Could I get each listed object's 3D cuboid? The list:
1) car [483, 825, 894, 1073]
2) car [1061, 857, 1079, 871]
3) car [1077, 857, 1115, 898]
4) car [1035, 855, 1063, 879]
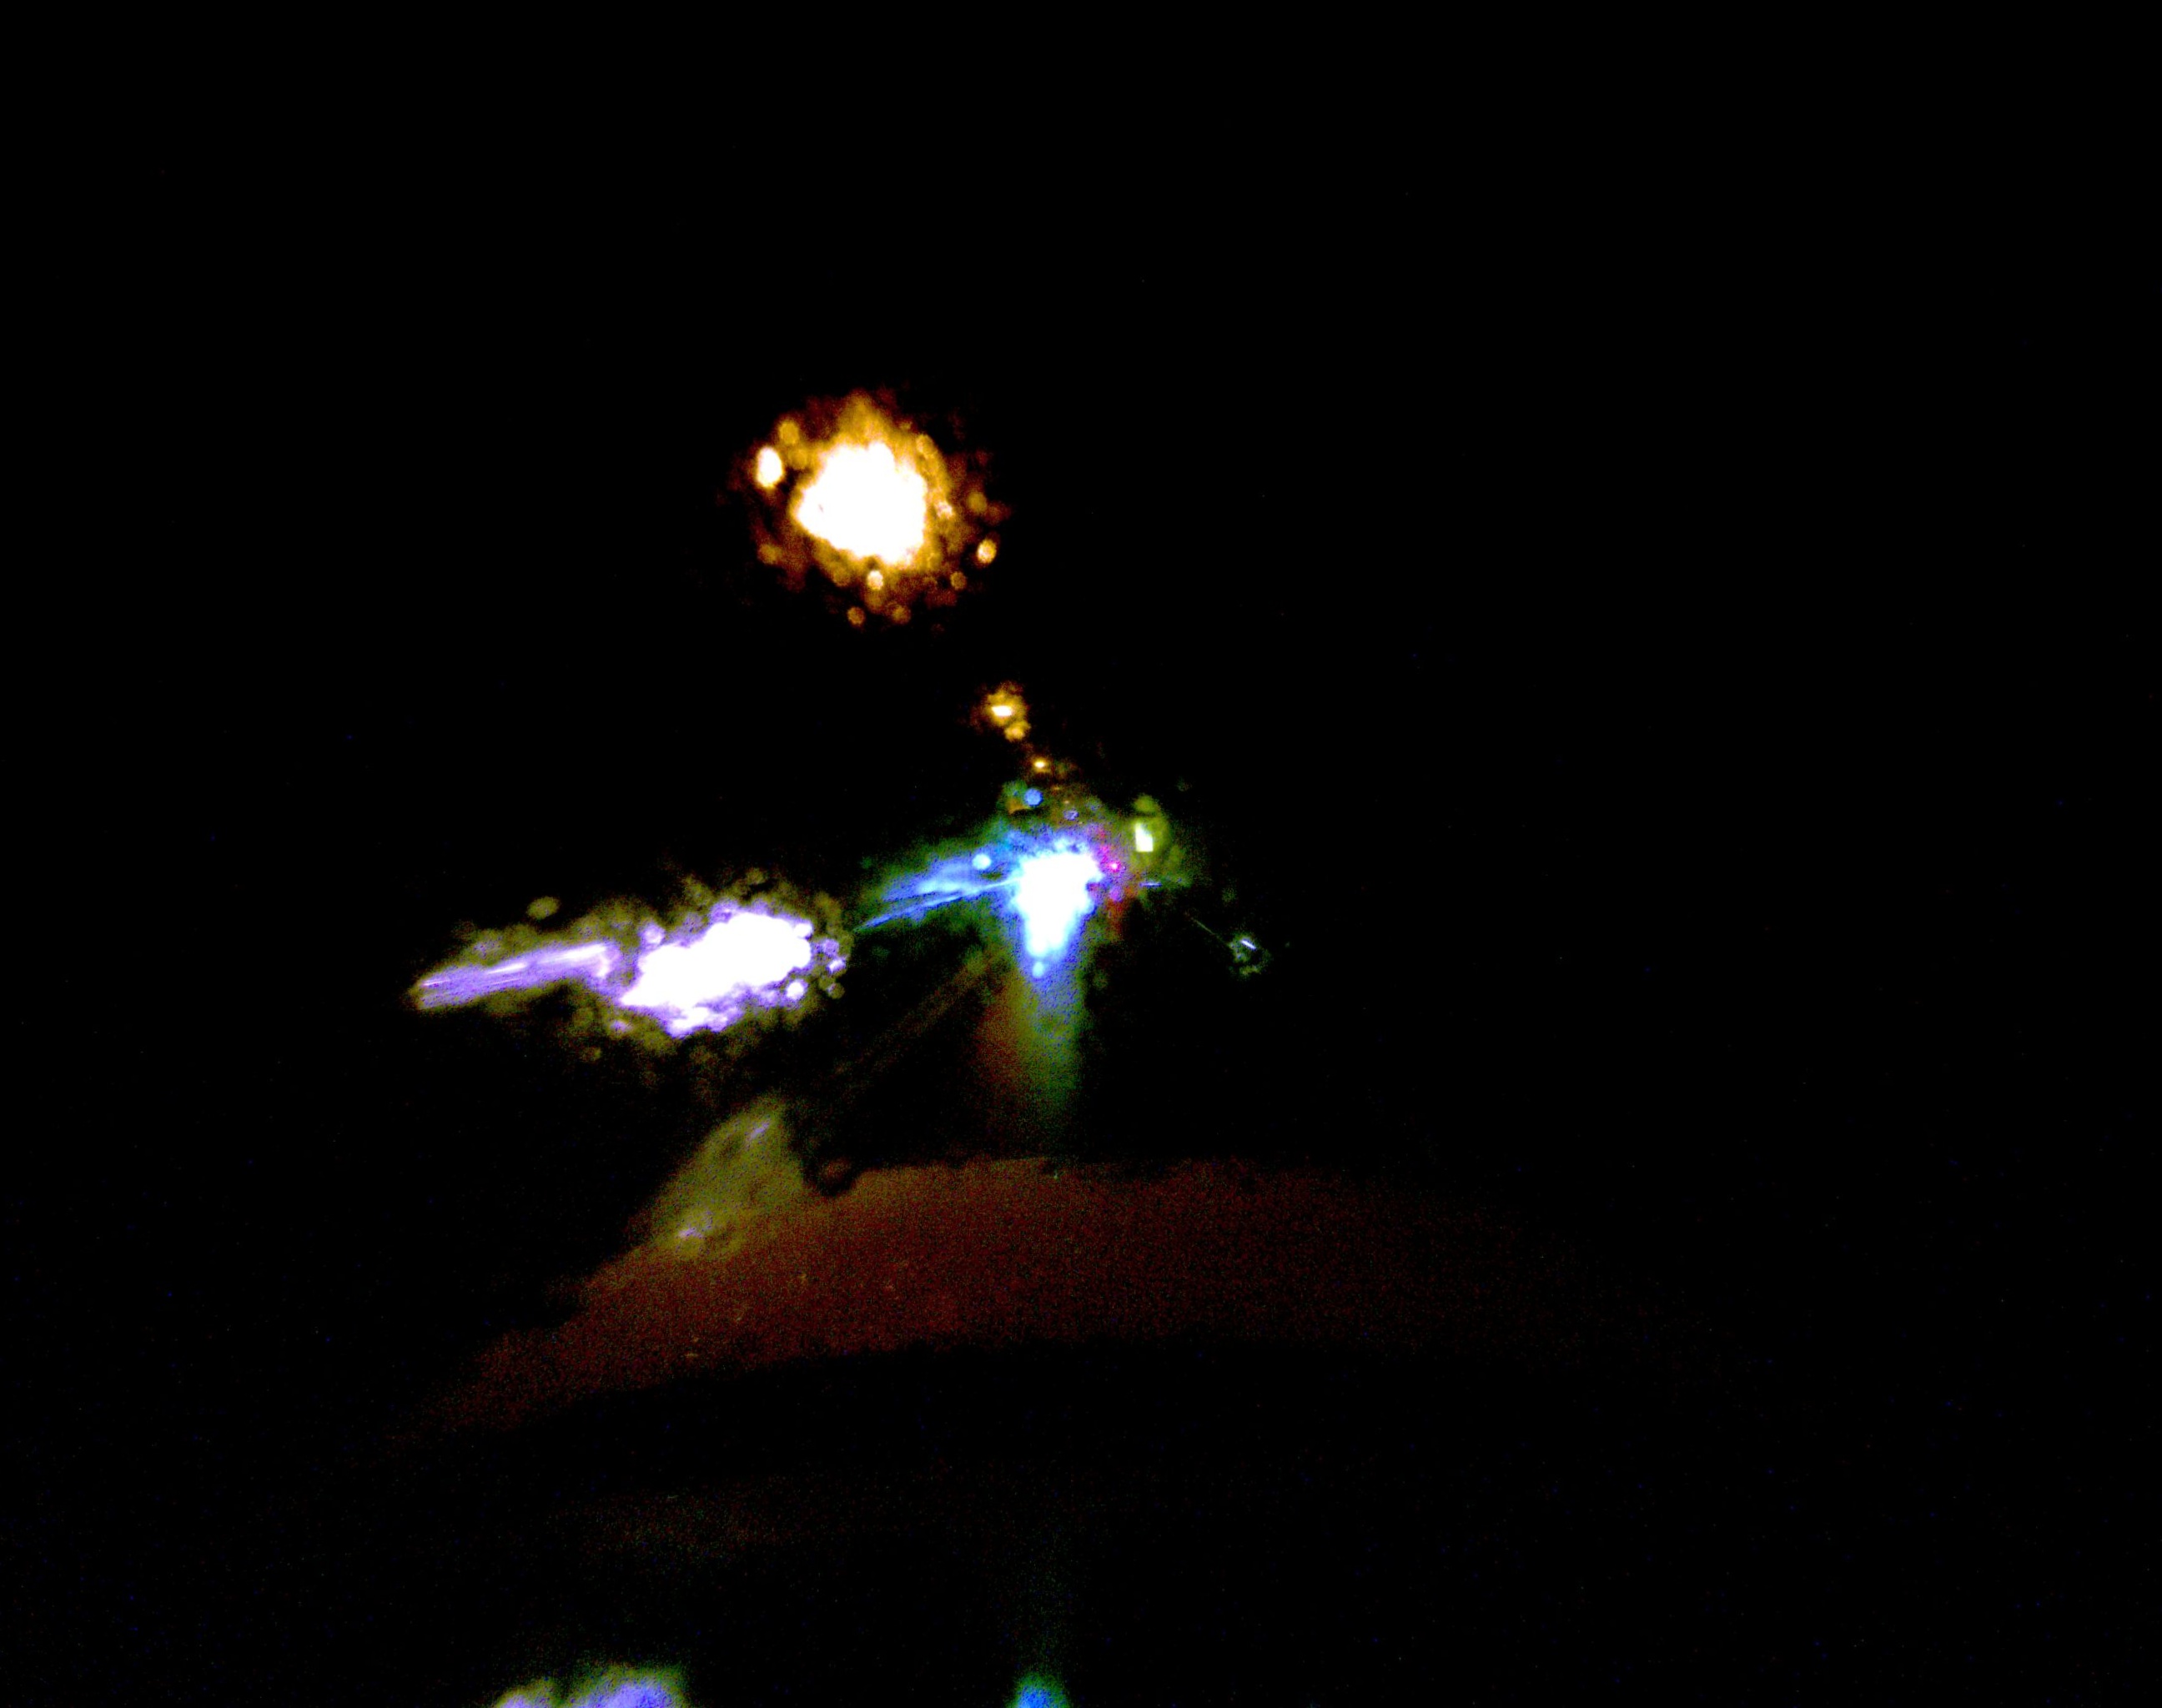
[{"bbox_3d":[-3.228,0.672,7.742,1.908,1.728,4.000,0,0,1],"label":"car"},{"bbox_3d":[-1.228,1.088,92.409,1.742,1.480,4.477,0,0,2],"label":"car"},{"bbox_3d":[0.708,1.043,37.691,1.629,1.758,4.147,0,0,2],"label":"car"},{"bbox_3d":[-2.250,0.893,58.093,1.691,1.676,4.128,0,0,2],"label":"car"}]
